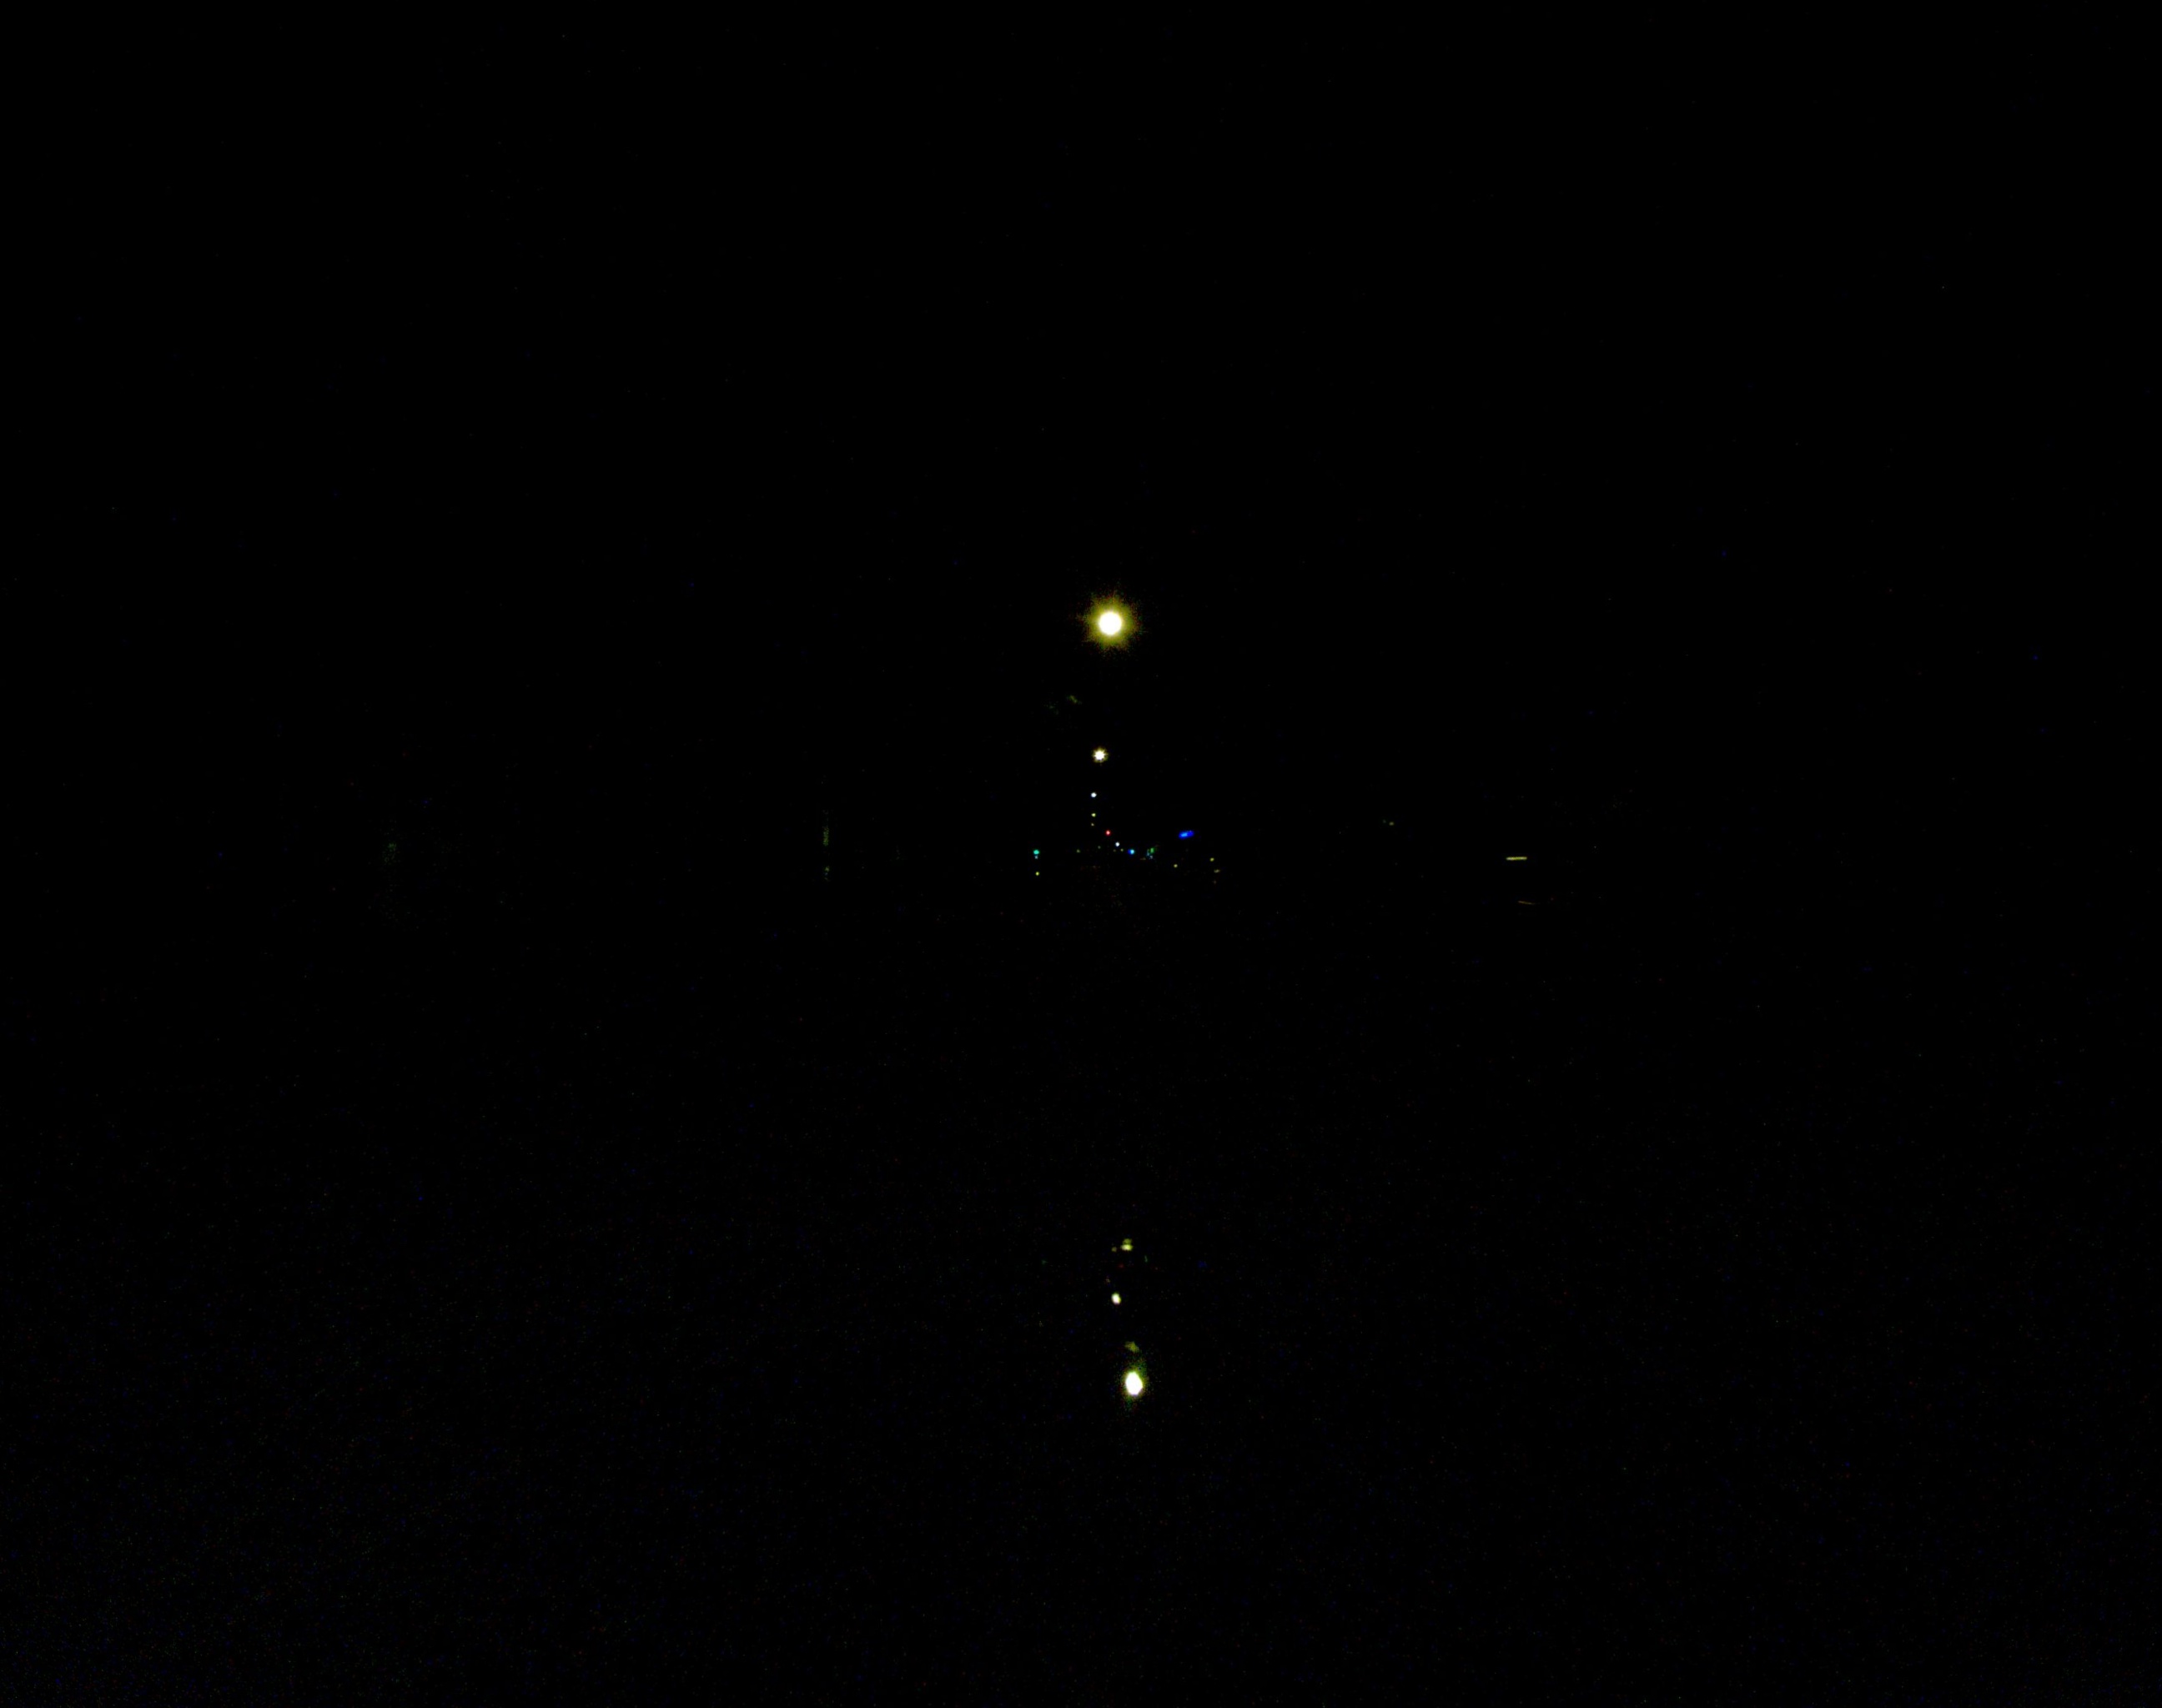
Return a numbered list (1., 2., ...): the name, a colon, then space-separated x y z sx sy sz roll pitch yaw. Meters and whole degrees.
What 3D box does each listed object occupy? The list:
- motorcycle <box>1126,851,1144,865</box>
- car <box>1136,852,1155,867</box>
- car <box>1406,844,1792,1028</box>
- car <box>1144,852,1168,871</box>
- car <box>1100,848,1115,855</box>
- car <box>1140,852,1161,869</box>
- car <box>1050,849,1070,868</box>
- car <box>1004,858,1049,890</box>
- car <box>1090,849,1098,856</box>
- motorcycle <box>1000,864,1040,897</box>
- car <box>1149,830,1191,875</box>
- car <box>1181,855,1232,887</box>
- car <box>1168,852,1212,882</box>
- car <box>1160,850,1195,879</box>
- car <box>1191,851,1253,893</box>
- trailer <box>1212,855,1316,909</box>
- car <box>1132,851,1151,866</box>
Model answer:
1. motorcycle: 6.464 0.498 90.787 1.909 1.541 0.638 -4 1 -19
2. car: 6.457 0.538 76.355 1.448 1.421 3.903 -4 0 0
3. car: 5.600 0.743 8.981 1.826 1.589 4.073 -3 0 2
4. car: 6.304 0.647 64.365 1.649 1.496 3.861 -1 -1 1
5. car: 6.992 -0.651 202.702 3.848 1.781 1.634 -1 1 -3
6. car: 6.436 0.607 70.371 1.551 1.447 3.368 -4 0 0
7. car: -2.198 0.460 79.163 1.956 1.952 4.603 -1 0 -1
8. car: -2.586 0.942 37.027 1.672 1.421 4.148 0 1 3
9. car: 3.477 -0.394 206.369 1.936 1.646 3.833 -1 1 0
10. motorcycle: -2.538 1.049 31.294 0.930 1.276 2.230 0 0 -24
11. car: 6.205 -0.115 53.586 2.184 2.893 4.909 -3 1 0
12. car: 6.103 0.783 37.327 1.709 1.403 4.633 -1 0 0
13. car: 6.003 0.701 42.346 1.746 1.597 4.297 0 0 -1
14. car: 5.914 0.623 46.987 1.746 1.597 4.116 -3 0 2
15. car: 5.827 0.703 31.896 1.721 1.493 4.205 -4 0 0
16. trailer: 5.667 0.799 24.303 2.115 1.327 5.435 -4 1 2
17. car: 6.425 0.474 81.024 1.646 1.496 3.903 -4 0 0
